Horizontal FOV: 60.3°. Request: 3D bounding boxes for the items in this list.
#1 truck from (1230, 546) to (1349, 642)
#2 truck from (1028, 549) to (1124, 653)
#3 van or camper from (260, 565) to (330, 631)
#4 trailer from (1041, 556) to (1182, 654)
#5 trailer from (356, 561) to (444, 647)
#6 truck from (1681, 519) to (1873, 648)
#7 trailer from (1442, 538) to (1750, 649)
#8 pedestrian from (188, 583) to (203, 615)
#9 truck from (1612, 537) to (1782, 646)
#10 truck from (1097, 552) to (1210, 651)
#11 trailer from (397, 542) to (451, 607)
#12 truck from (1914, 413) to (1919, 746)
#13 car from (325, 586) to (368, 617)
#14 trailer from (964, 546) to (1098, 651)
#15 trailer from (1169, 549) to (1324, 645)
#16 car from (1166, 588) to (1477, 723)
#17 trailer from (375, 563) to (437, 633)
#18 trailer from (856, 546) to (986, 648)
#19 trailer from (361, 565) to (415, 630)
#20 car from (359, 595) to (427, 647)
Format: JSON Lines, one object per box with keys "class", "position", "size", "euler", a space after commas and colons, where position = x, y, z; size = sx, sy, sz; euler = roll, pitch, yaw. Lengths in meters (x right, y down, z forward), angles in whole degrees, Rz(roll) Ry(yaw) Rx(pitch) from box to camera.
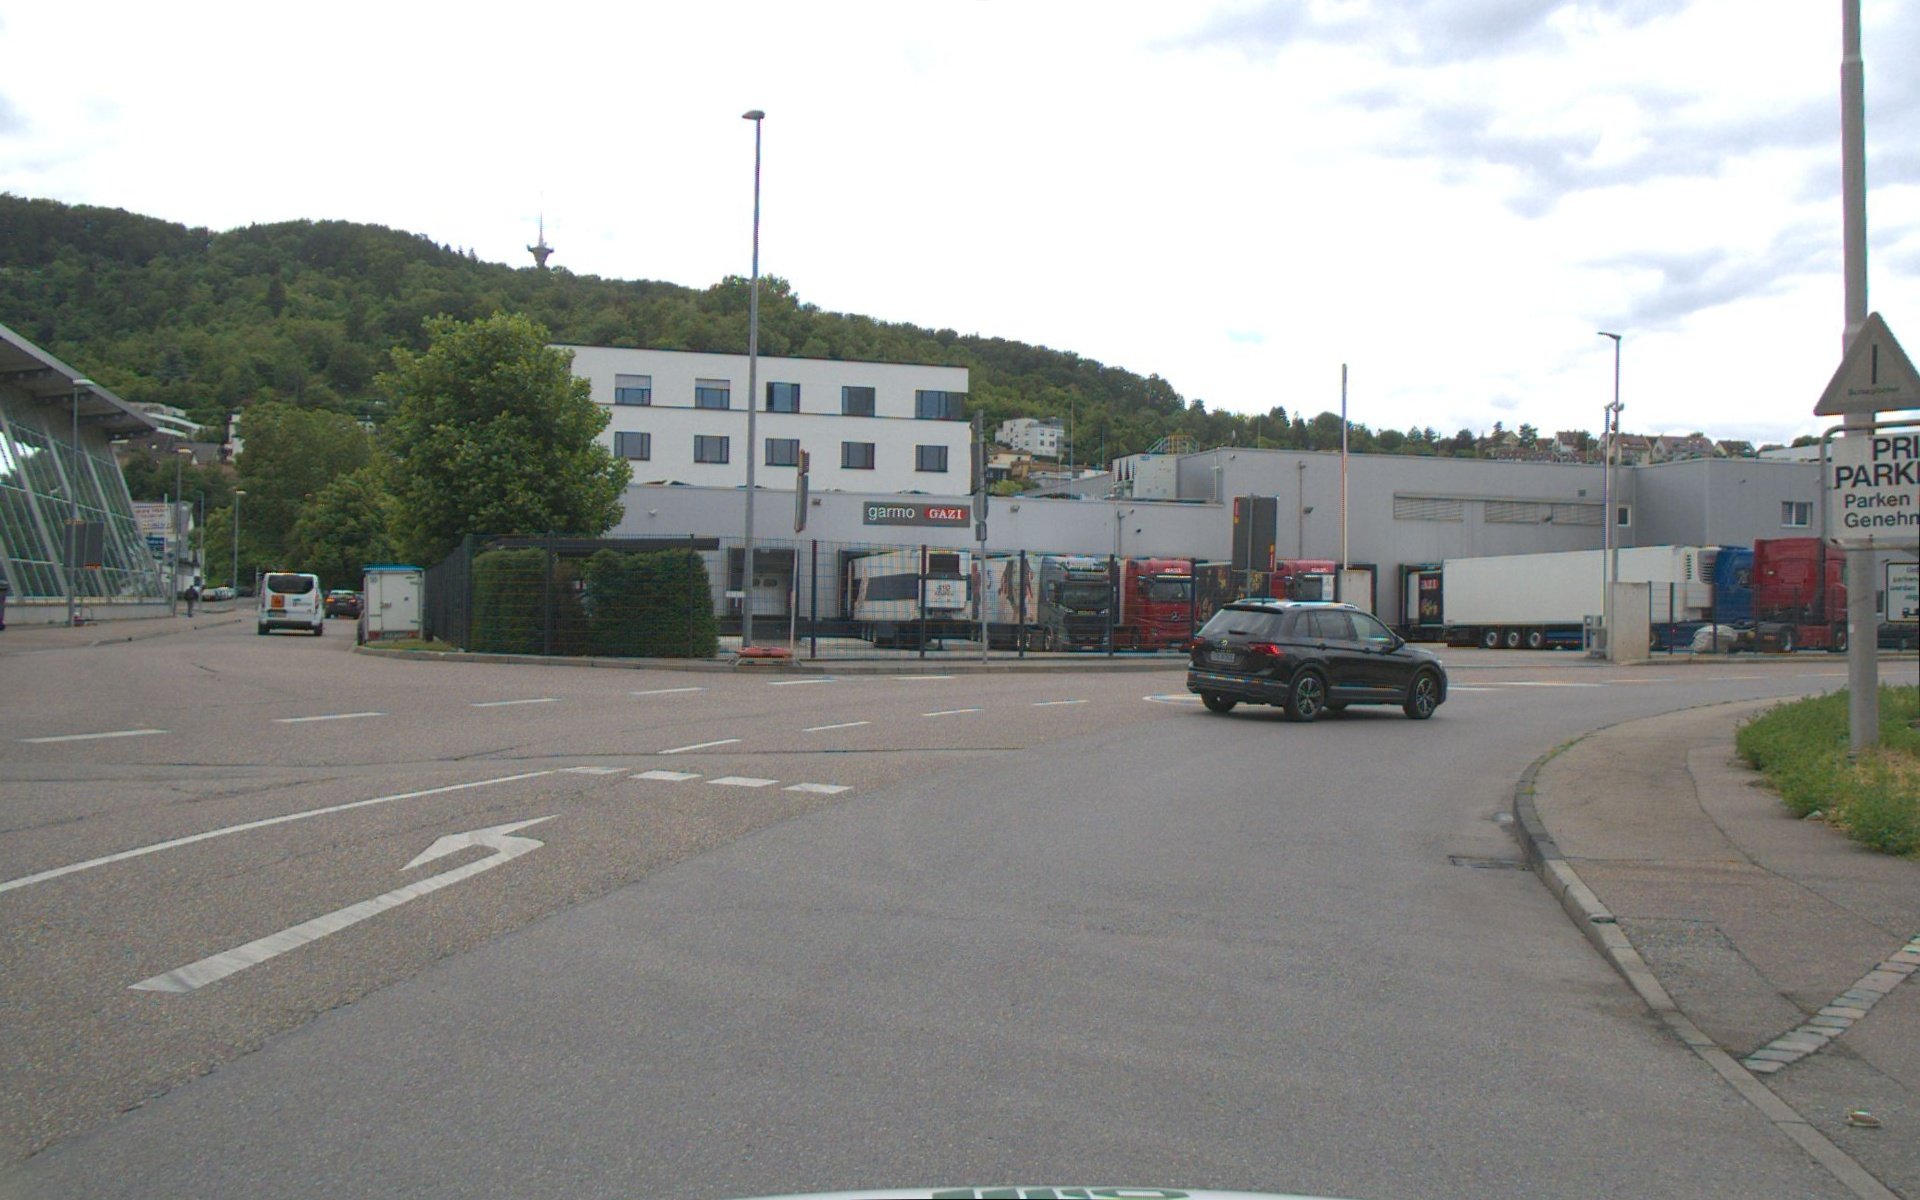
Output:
{"class": "truck", "position": [14.404, -0.224, 72.783], "size": [2.747, 3.997, 5.901], "euler": [1, 0, -15]}
{"class": "truck", "position": [4.770, 0.055, 68.795], "size": [2.747, 4.111, 4.148], "euler": [1, -1, -15]}
{"class": "van or camper", "position": [-22.437, -0.041, 55.839], "size": [2.069, 2.119, 4.177], "euler": [1, -1, -22]}
{"class": "trailer", "position": [6.761, 0.215, 76.227], "size": [2.738, 4.149, 10.949], "euler": [1, 0, -15]}
{"class": "trailer", "position": [-14.118, 0.083, 41.856], "size": [1.963, 2.049, 3.980], "euler": [1, 0, -18]}
{"class": "truck", "position": [27.625, -0.477, 55.836], "size": [6.861, 4.091, 2.895], "euler": [1, 0, -35]}
{"class": "trailer", "position": [26.593, -0.285, 70.514], "size": [2.990, 4.257, 13.899], "euler": [1, 0, -26]}
{"class": "pedestrian", "position": [-39.889, -0.049, 86.305], "size": [0.618, 1.702, 0.753], "euler": [1, -1, -22]}
{"class": "truck", "position": [28.859, -0.336, 64.836], "size": [5.512, 4.091, 2.916], "euler": [1, 0, 40]}
{"class": "truck", "position": [8.207, 0.087, 70.872], "size": [2.747, 3.997, 5.901], "euler": [1, 0, -15]}
{"class": "trailer", "position": [-32.754, -1.560, 101.158], "size": [3.020, 3.825, 4.909], "euler": [1, 0, -18]}
{"class": "truck", "position": [14.402, -0.127, 20.848], "size": [3.013, 3.695, 8.567], "euler": [1, 0, 37]}
{"class": "car", "position": [-36.053, 0.099, 97.252], "size": [1.961, 1.713, 3.983], "euler": [1, -1, -15]}
{"class": "trailer", "position": [3.015, -0.044, 75.224], "size": [2.738, 4.376, 11.134], "euler": [1, 0, -15]}
{"class": "trailer", "position": [13.196, -0.106, 77.505], "size": [2.738, 4.149, 10.949], "euler": [1, 0, -15]}
{"class": "car", "position": [5.293, 0.825, 24.013], "size": [4.320, 1.713, 1.976], "euler": [3, 0, -35]}
{"class": "trailer", "position": [-19.665, -0.092, 58.809], "size": [1.963, 2.384, 3.980], "euler": [1, 0, -18]}
{"class": "trailer", "position": [-1.916, -0.104, 73.465], "size": [3.030, 4.149, 11.361], "euler": [1, 0, -15]}
{"class": "trailer", "position": [-27.382, -0.145, 79.297], "size": [2.243, 3.004, 3.980], "euler": [1, 0, -18]}
{"class": "car", "position": [-18.323, 0.652, 53.389], "size": [1.964, 1.534, 4.158], "euler": [1, 0, -20]}
